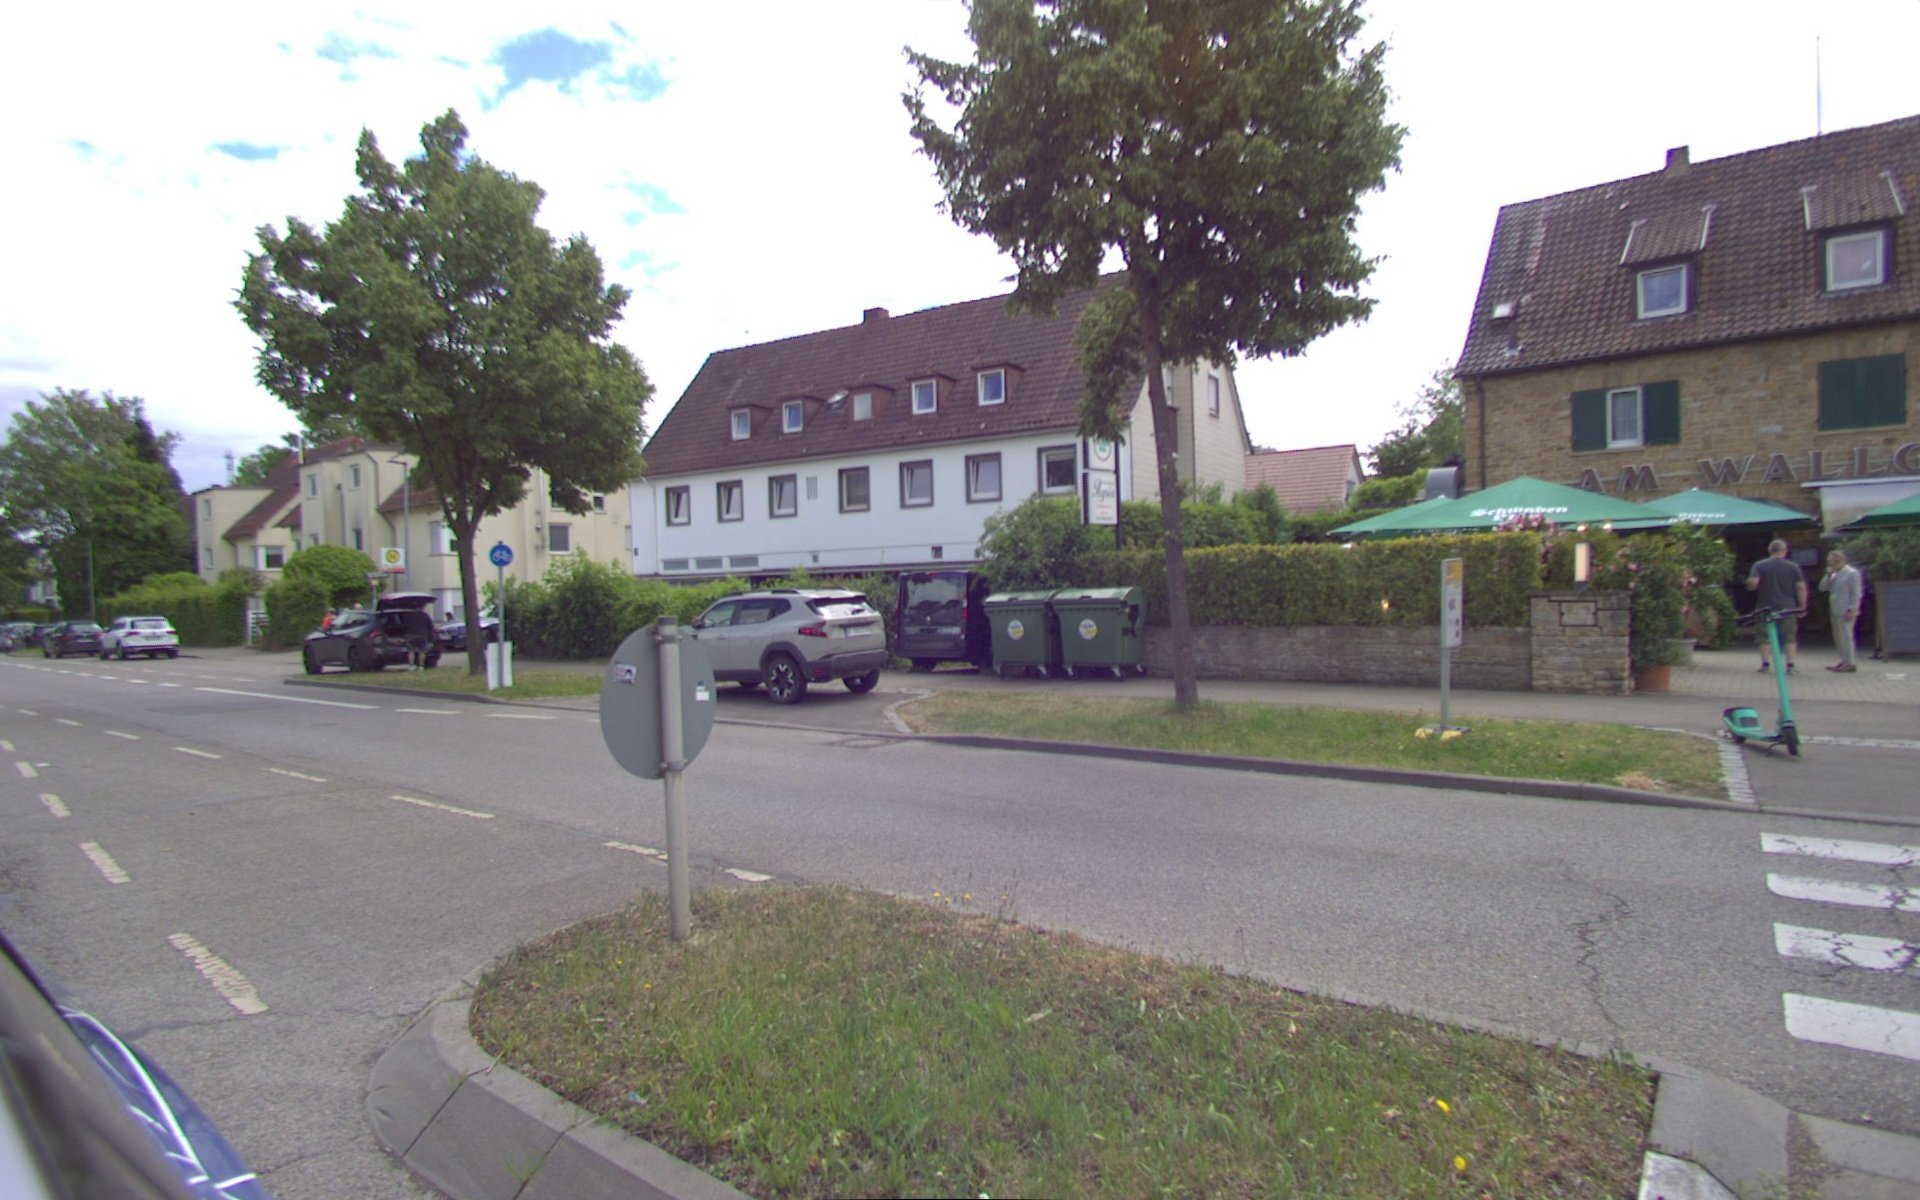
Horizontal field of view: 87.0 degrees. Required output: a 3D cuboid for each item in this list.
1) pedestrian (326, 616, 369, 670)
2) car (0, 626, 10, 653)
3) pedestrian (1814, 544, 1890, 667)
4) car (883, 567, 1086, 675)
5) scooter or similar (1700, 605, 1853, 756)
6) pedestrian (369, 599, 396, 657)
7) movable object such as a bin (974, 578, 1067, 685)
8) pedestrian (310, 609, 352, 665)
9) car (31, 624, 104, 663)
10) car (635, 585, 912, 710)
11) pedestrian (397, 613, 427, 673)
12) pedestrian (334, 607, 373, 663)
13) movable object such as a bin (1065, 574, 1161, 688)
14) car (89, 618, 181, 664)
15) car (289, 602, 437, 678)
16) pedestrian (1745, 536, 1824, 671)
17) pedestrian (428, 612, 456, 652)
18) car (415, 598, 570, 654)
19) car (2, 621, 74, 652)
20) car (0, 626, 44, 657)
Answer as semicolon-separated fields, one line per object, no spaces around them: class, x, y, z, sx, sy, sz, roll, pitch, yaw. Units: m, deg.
pedestrian;-19.976;1.390;33.026;0.879;1.675;0.781;-2;4;33
car;-62.762;2.577;64.862;5.032;1.659;2.075;-2;-1;39
pedestrian;12.322;0.070;13.990;0.446;1.656;0.619;-2;0;-23
car;0.572;0.354;20.132;1.998;1.906;3.947;-2;0;40
scooter or similar;6.708;0.621;8.378;0.343;1.147;1.285;-2;0;8
pedestrian;-18.459;0.886;32.329;0.671;1.819;0.498;-2;0;40
movable object such as a bin;1.029;0.508;16.954;0.996;1.663;1.194;-1;3;37
pedestrian;-19.987;1.177;32.164;0.752;1.675;0.781;-2;4;33
car;-38.547;1.861;43.688;4.267;1.563;1.661;-2;0;39
car;-2.993;0.685;15.814;4.288;1.666;1.843;-2;1;38
pedestrian;-13.518;1.066;24.973;0.545;1.447;0.497;-1;-2;-19
pedestrian;-19.068;1.097;31.821;0.591;1.675;0.779;-1;3;38
movable object such as a bin;2.429;0.470;16.014;0.996;1.663;1.194;-1;3;37
car;-32.535;1.593;39.886;4.579;1.646;1.803;-2;0;38
car;-15.519;1.009;26.216;4.558;1.737;1.708;-2;1;38
pedestrian;11.329;0.052;13.926;0.747;1.797;0.565;-2;0;35
pedestrian;-17.533;1.090;34.249;0.705;1.323;0.581;-2;0;41
car;-15.521;0.815;33.869;2.023;1.565;4.493;-2;2;23
car;-47.722;1.889;52.350;4.883;1.496;1.975;-2;-1;38
car;-52.110;2.269;55.908;3.907;1.625;1.701;-2;0;40
